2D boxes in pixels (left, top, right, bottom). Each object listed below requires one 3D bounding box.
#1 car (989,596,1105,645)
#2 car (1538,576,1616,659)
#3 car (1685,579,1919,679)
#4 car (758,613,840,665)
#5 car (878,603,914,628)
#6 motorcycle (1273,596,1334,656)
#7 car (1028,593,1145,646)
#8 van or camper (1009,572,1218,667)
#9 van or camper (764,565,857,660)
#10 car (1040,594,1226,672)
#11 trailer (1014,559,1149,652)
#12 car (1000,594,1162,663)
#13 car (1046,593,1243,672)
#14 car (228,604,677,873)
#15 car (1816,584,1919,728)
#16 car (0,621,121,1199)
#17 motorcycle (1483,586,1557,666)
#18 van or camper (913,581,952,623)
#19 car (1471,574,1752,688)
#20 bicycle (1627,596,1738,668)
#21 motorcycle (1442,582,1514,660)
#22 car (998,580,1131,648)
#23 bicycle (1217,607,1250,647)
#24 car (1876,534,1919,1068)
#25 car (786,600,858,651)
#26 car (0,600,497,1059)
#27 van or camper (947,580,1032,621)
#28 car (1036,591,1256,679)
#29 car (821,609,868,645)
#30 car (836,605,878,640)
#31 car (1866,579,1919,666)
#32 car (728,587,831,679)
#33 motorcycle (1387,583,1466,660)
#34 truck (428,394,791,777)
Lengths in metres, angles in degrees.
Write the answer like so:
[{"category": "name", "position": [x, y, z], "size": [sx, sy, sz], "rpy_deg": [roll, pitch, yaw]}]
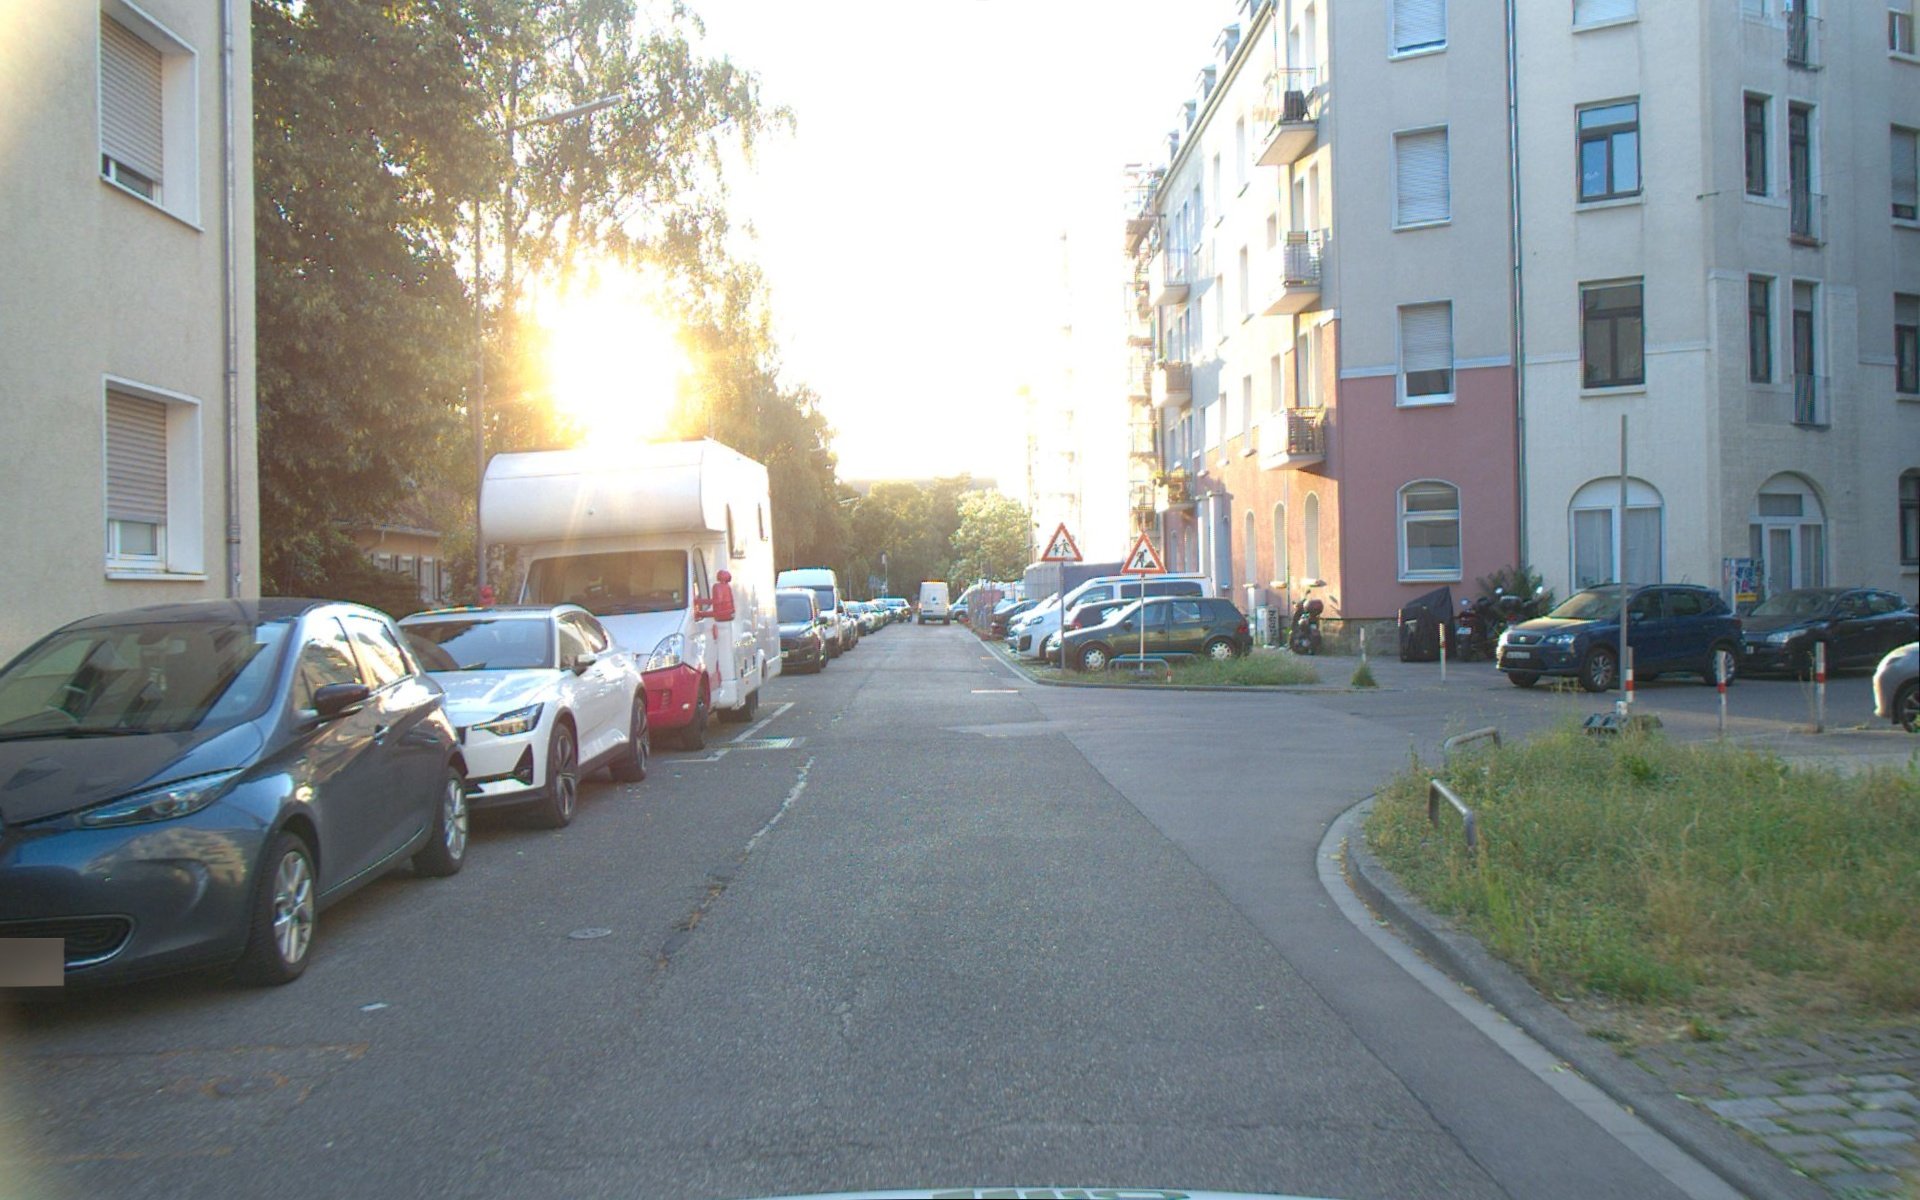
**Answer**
[{"category": "car", "position": [3.104, 0.730, 59.607], "size": [4.068, 1.644, 1.872], "rpy_deg": [-1, 0, 0]}, {"category": "car", "position": [11.571, 0.313, 30.941], "size": [0.828, 1.482, 2.771], "rpy_deg": [-1, 0, 31]}, {"category": "car", "position": [14.245, 0.447, 27.695], "size": [3.946, 1.532, 1.950], "rpy_deg": [-1, 0, -31]}, {"category": "car", "position": [-4.070, 0.953, 41.590], "size": [1.955, 1.210, 4.031], "rpy_deg": [-1, 0, -6]}, {"category": "car", "position": [-4.372, 1.057, 112.893], "size": [1.766, 1.597, 4.568], "rpy_deg": [-2, 0, 6]}, {"category": "motorcycle", "position": [7.518, 0.545, 36.292], "size": [0.727, 1.257, 2.652], "rpy_deg": [-1, 0, -1]}, {"category": "car", "position": [4.144, 0.641, 54.494], "size": [3.619, 1.638, 1.744], "rpy_deg": [-1, 0, -4]}, {"category": "van or camper", "position": [3.626, 0.461, 39.630], "size": [4.737, 2.133, 2.040], "rpy_deg": [-1, 0, -2]}, {"category": "van or camper", "position": [-4.200, 0.333, 47.383], "size": [1.952, 2.500, 6.084], "rpy_deg": [-1, 0, 1]}, {"category": "car", "position": [3.851, 0.729, 37.336], "size": [3.907, 1.646, 1.999], "rpy_deg": [-1, 0, -3]}, {"category": "trailer", "position": [3.429, 0.157, 47.103], "size": [3.497, 2.377, 1.939], "rpy_deg": [-3, 0, -4]}, {"category": "car", "position": [3.063, 0.721, 42.346], "size": [3.907, 1.669, 1.999], "rpy_deg": [-1, -1, -3]}, {"category": "car", "position": [3.886, 0.676, 35.294], "size": [3.907, 1.557, 1.999], "rpy_deg": [-1, 0, -3]}, {"category": "car", "position": [-3.531, 0.851, 12.600], "size": [1.868, 1.502, 4.909], "rpy_deg": [-3, 0, -1]}, {"category": "car", "position": [10.879, 0.538, 16.292], "size": [1.970, 1.445, 3.964], "rpy_deg": [-1, 0, -27]}, {"category": "car", "position": [-3.334, 0.815, 2.568], "size": [1.954, 1.469, 4.429], "rpy_deg": [-1, 0, -3]}, {"category": "motorcycle", "position": [10.723, 0.468, 31.613], "size": [0.729, 1.459, 2.646], "rpy_deg": [-1, 0, 32]}, {"category": "van or camper", "position": [-1.753, 0.137, 105.708], "size": [2.404, 2.591, 6.082], "rpy_deg": [1, 0, -1]}, {"category": "car", "position": [10.022, 0.442, 25.458], "size": [3.935, 1.600, 1.816], "rpy_deg": [-1, 0, -25]}, {"category": "bicycle", "position": [13.544, 0.598, 31.022], "size": [1.860, 1.304, 0.685], "rpy_deg": [-1, 0, 25]}, {"category": "motorcycle", "position": [10.063, 0.387, 32.093], "size": [0.729, 1.459, 2.346], "rpy_deg": [-1, 0, 33]}, {"category": "car", "position": [3.566, 0.459, 56.904], "size": [4.187, 2.014, 1.818], "rpy_deg": [-4, 1, -9]}, {"category": "bicycle", "position": [7.605, 0.735, 45.988], "size": [0.505, 1.079, 1.903], "rpy_deg": [-1, 0, -3]}, {"category": "car", "position": [4.914, 0.554, 4.103], "size": [4.212, 1.568, 1.923], "rpy_deg": [-1, 0, 0]}, {"category": "car", "position": [-4.371, 0.788, 53.037], "size": [1.953, 1.545, 4.788], "rpy_deg": [-1, 0, -1]}, {"category": "car", "position": [-3.584, 0.824, 7.816], "size": [1.754, 1.560, 4.066], "rpy_deg": [-3, 0, -3]}, {"category": "van or camper", "position": [2.003, 0.048, 114.034], "size": [5.809, 2.818, 2.109], "rpy_deg": [0, -1, -2]}, {"category": "car", "position": [3.625, 0.667, 32.675], "size": [4.021, 1.613, 1.853], "rpy_deg": [-1, 0, -5]}, {"category": "car", "position": [-4.941, 1.134, 70.910], "size": [1.954, 1.478, 3.997], "rpy_deg": [-1, 0, -4]}, {"category": "car", "position": [-4.771, 1.023, 77.017], "size": [1.746, 1.471, 4.746], "rpy_deg": [-3, 0, -2]}, {"category": "car", "position": [18.440, 0.363, 29.892], "size": [3.948, 1.532, 1.951], "rpy_deg": [-1, 0, -32]}, {"category": "car", "position": [-3.919, 0.678, 36.586], "size": [1.872, 1.819, 4.947], "rpy_deg": [-2, 0, -2]}, {"category": "motorcycle", "position": [9.171, 0.405, 32.441], "size": [0.821, 1.459, 2.346], "rpy_deg": [-1, 0, 33]}, {"category": "truck", "position": [-3.681, -0.135, 19.449], "size": [2.475, 3.411, 8.016], "rpy_deg": [-4, 0, -1]}]
